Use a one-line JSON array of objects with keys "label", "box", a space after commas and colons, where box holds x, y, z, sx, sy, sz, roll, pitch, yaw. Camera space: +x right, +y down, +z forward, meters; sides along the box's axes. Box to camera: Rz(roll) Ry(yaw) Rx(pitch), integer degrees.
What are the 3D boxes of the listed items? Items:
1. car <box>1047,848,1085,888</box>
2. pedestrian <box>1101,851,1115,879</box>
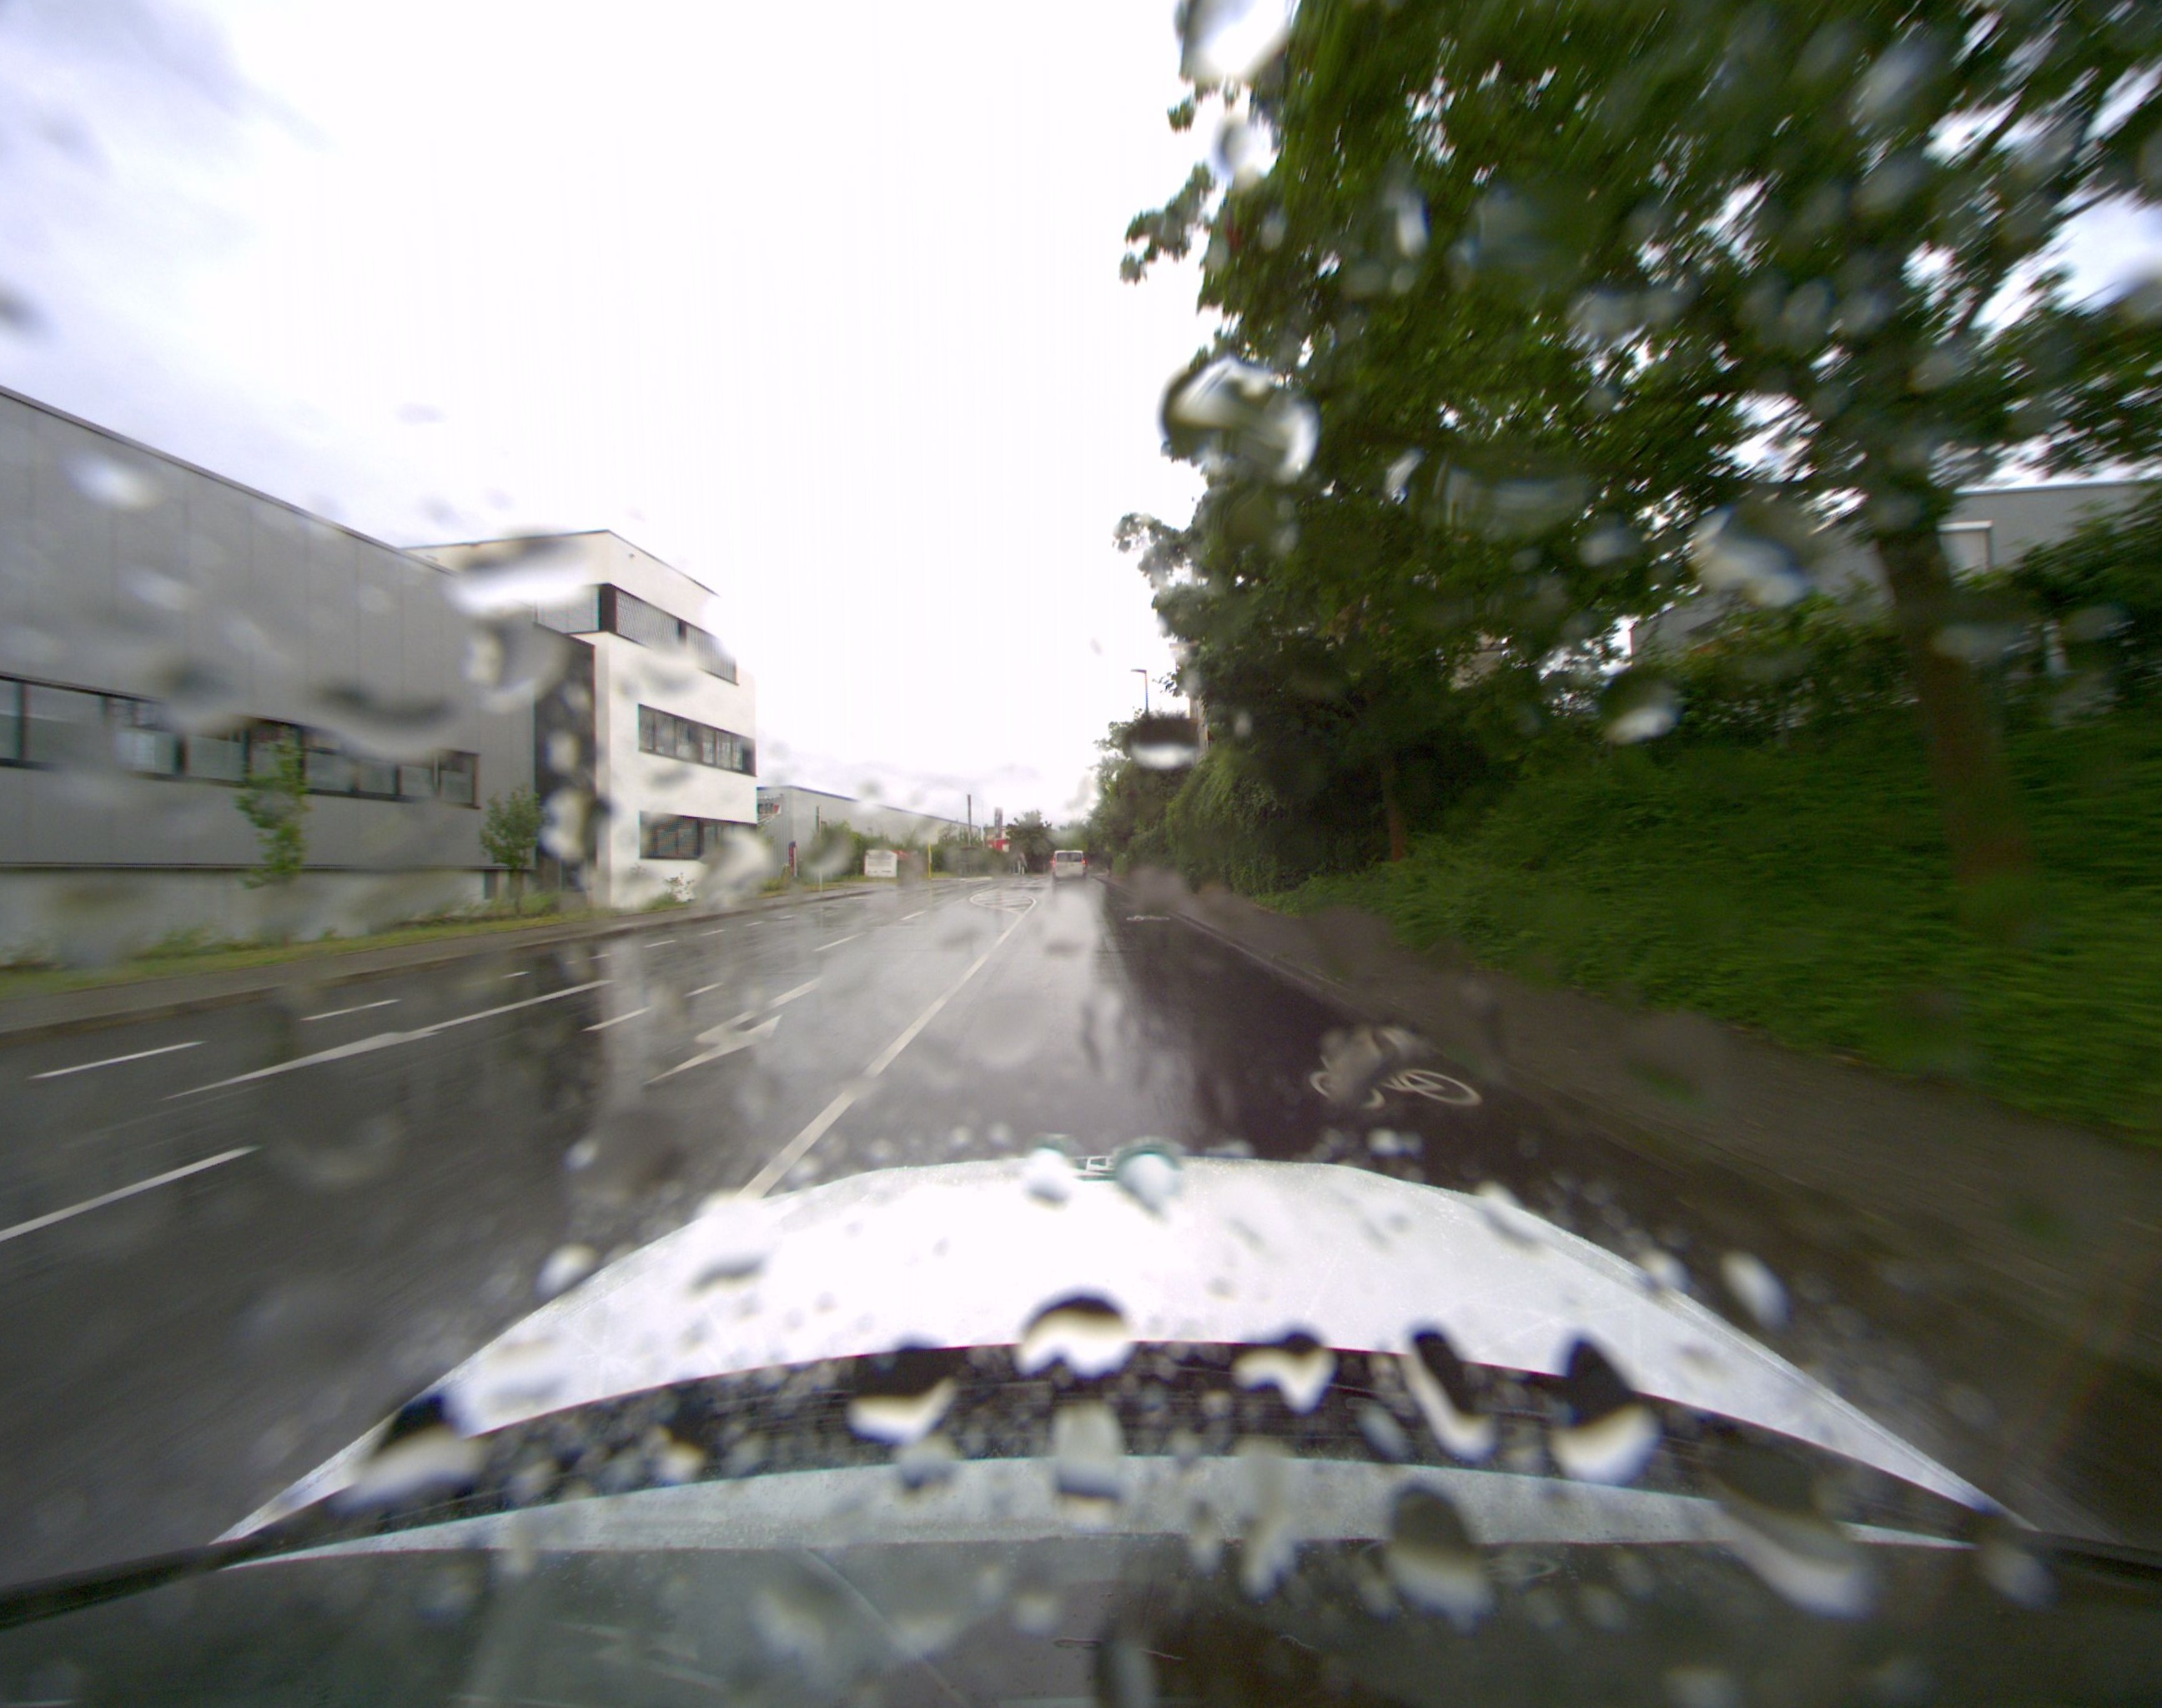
[{"label": "car", "box": [-0.810, 0.760, 46.144, 1.893, 2.018, 5.371, -4, 0, 0]}, {"label": "pedestrian", "box": [1.882, 0.779, 56.494, 0.775, 1.907, 0.728, -5, -2, -2]}]
